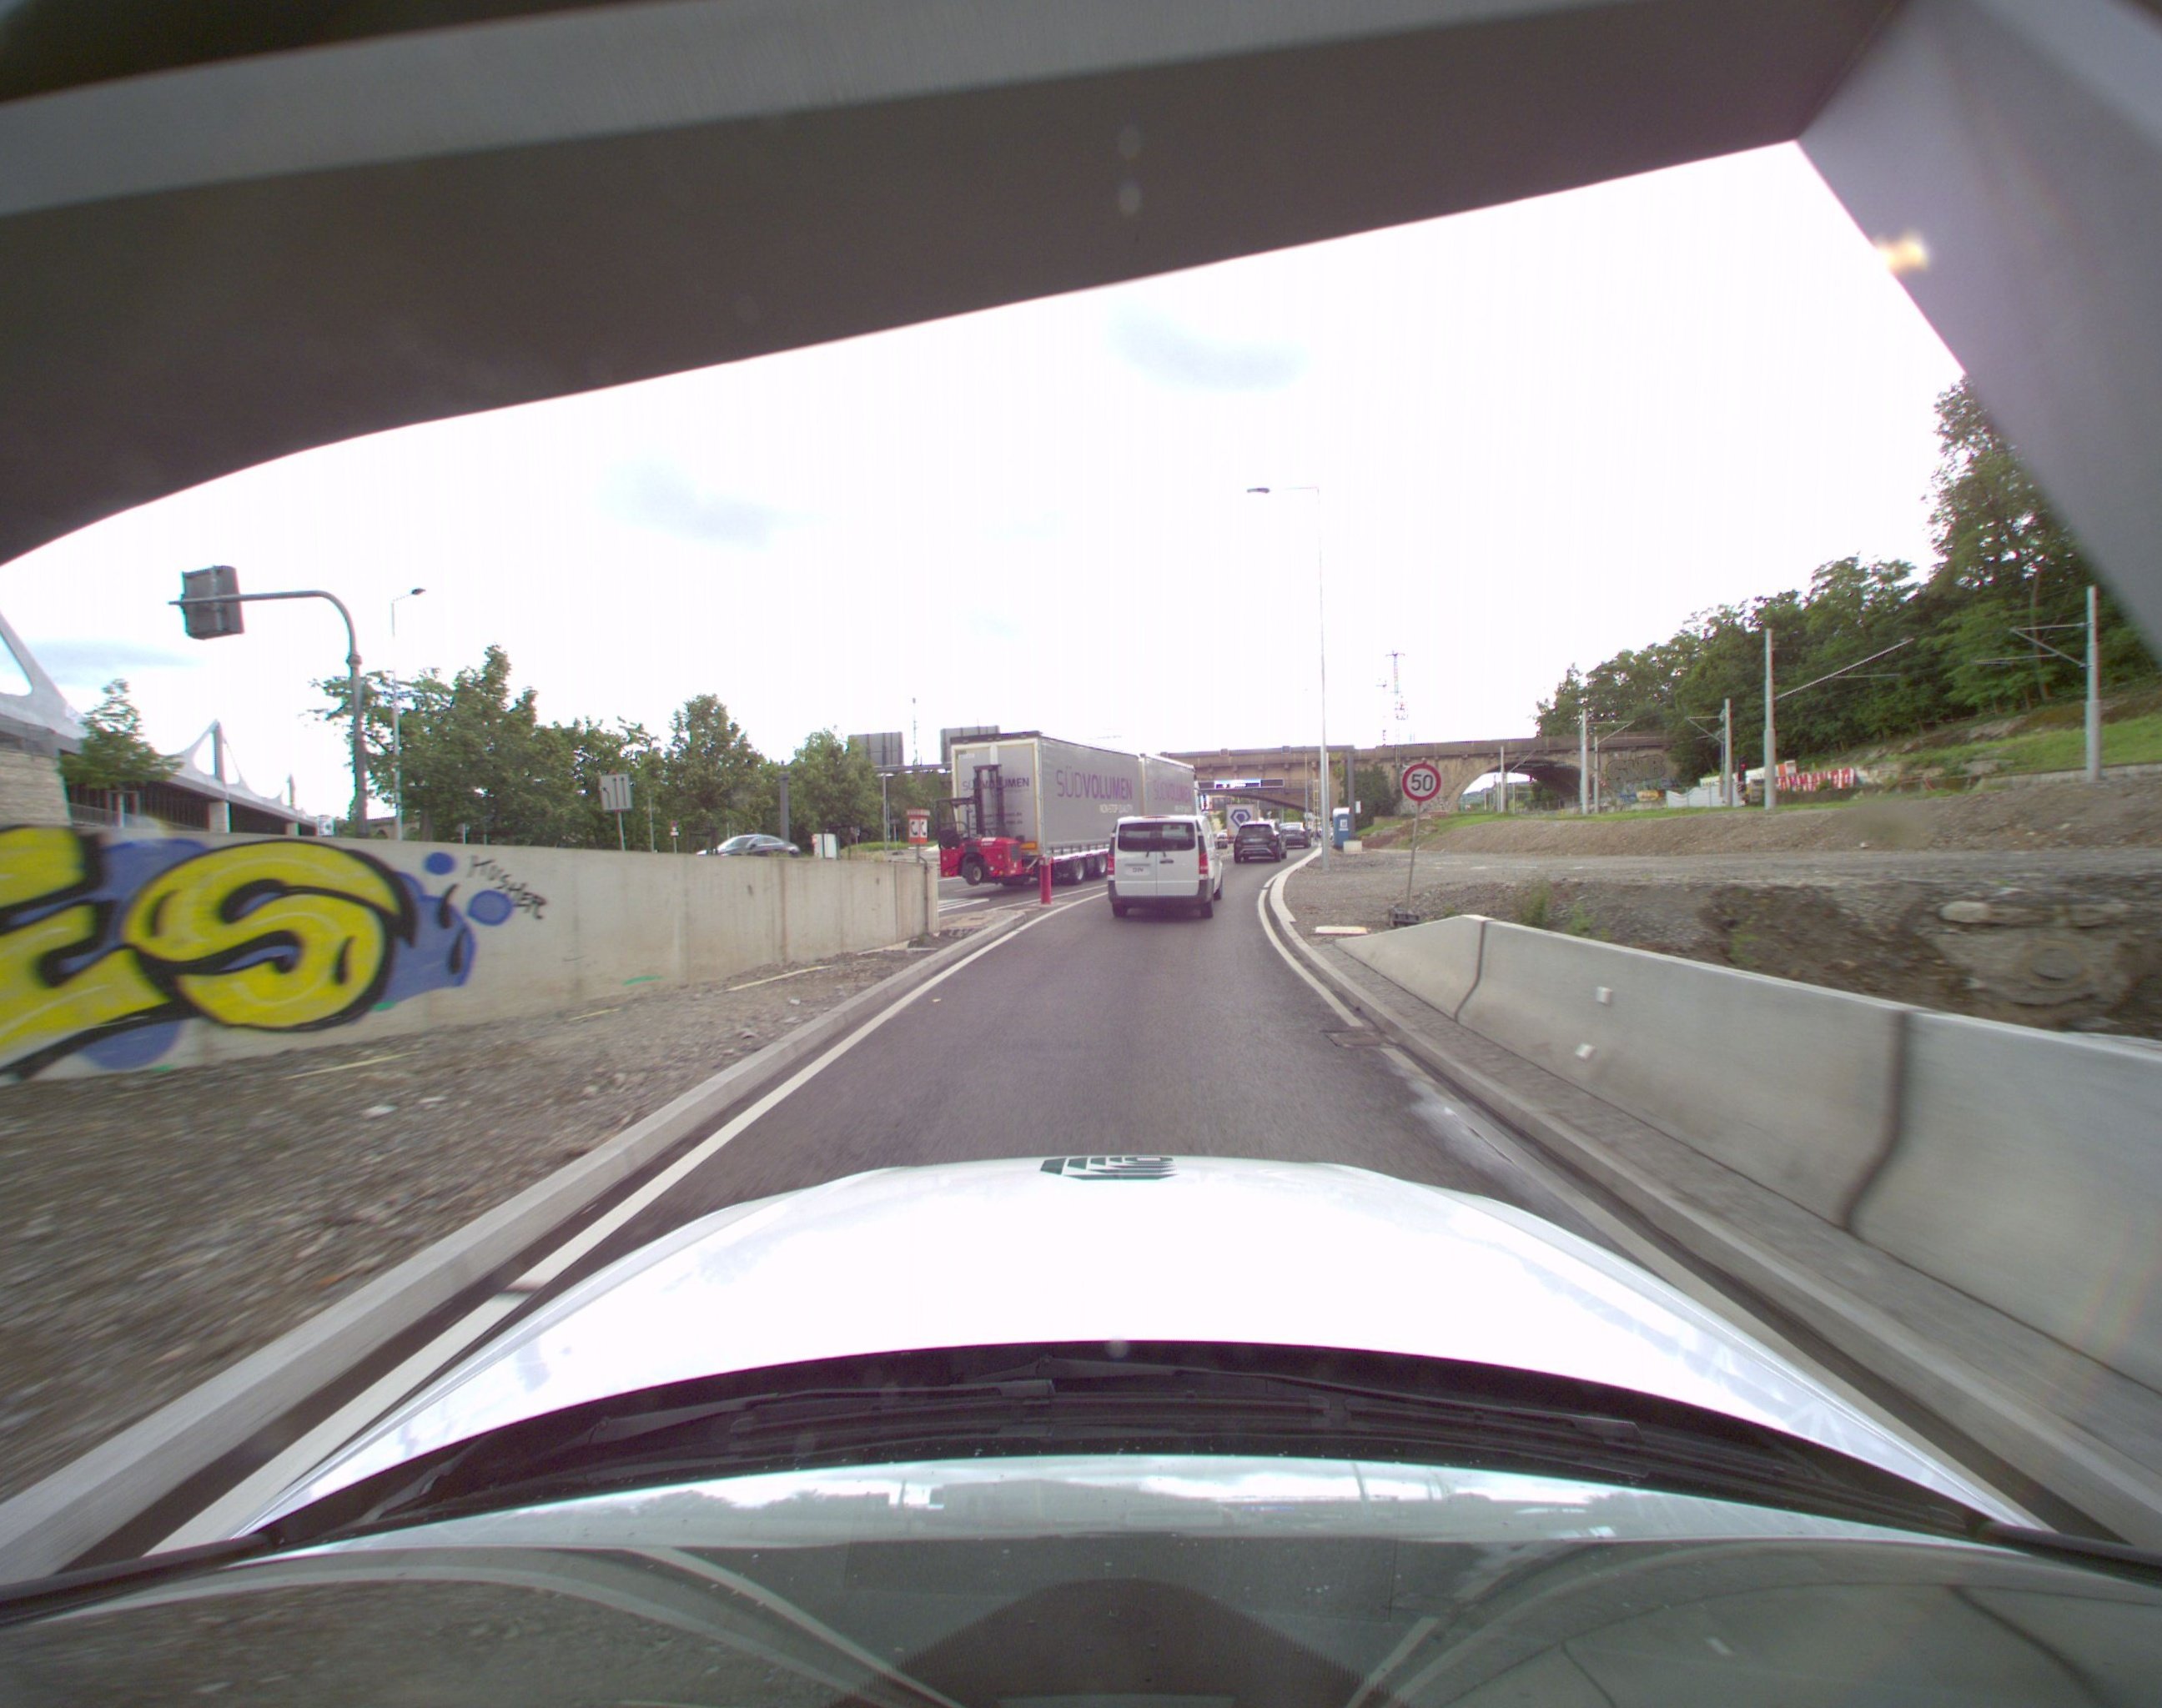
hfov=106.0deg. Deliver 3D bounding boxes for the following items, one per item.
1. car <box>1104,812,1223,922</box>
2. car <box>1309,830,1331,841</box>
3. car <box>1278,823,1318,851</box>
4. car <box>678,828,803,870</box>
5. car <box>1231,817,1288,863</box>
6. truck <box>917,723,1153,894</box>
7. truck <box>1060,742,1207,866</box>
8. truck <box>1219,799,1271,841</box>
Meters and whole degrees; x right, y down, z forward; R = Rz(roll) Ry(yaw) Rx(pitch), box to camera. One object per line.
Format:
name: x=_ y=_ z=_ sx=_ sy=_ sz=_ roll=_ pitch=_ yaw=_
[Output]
car: x=1.825 y=0.108 z=16.478 sx=1.863 sy=1.890 sz=4.770 roll=0 pitch=3 yaw=12
car: x=42.607 y=-3.259 z=145.102 sx=1.880 sy=1.809 sz=4.512 roll=0 pitch=-1 yaw=42
car: x=11.960 y=-0.926 z=44.771 sx=1.487 sy=1.469 sz=3.419 roll=1 pitch=0 yaw=25
car: x=-13.306 y=-0.231 z=32.152 sx=1.773 sy=1.477 sz=4.640 roll=-1 pitch=2 yaw=21
car: x=7.025 y=-0.555 z=31.753 sx=1.735 sy=1.625 sz=3.863 roll=-1 pitch=1 yaw=18
truck: x=-0.755 y=-1.339 z=24.460 sx=2.892 sy=4.015 sz=10.258 roll=0 pitch=3 yaw=22
truck: x=2.585 y=-1.921 z=33.272 sx=2.963 sy=4.175 sz=11.299 roll=0 pitch=2 yaw=20
truck: x=16.803 y=-3.337 z=82.249 sx=3.291 sy=3.808 sz=16.671 roll=1 pitch=2 yaw=18
